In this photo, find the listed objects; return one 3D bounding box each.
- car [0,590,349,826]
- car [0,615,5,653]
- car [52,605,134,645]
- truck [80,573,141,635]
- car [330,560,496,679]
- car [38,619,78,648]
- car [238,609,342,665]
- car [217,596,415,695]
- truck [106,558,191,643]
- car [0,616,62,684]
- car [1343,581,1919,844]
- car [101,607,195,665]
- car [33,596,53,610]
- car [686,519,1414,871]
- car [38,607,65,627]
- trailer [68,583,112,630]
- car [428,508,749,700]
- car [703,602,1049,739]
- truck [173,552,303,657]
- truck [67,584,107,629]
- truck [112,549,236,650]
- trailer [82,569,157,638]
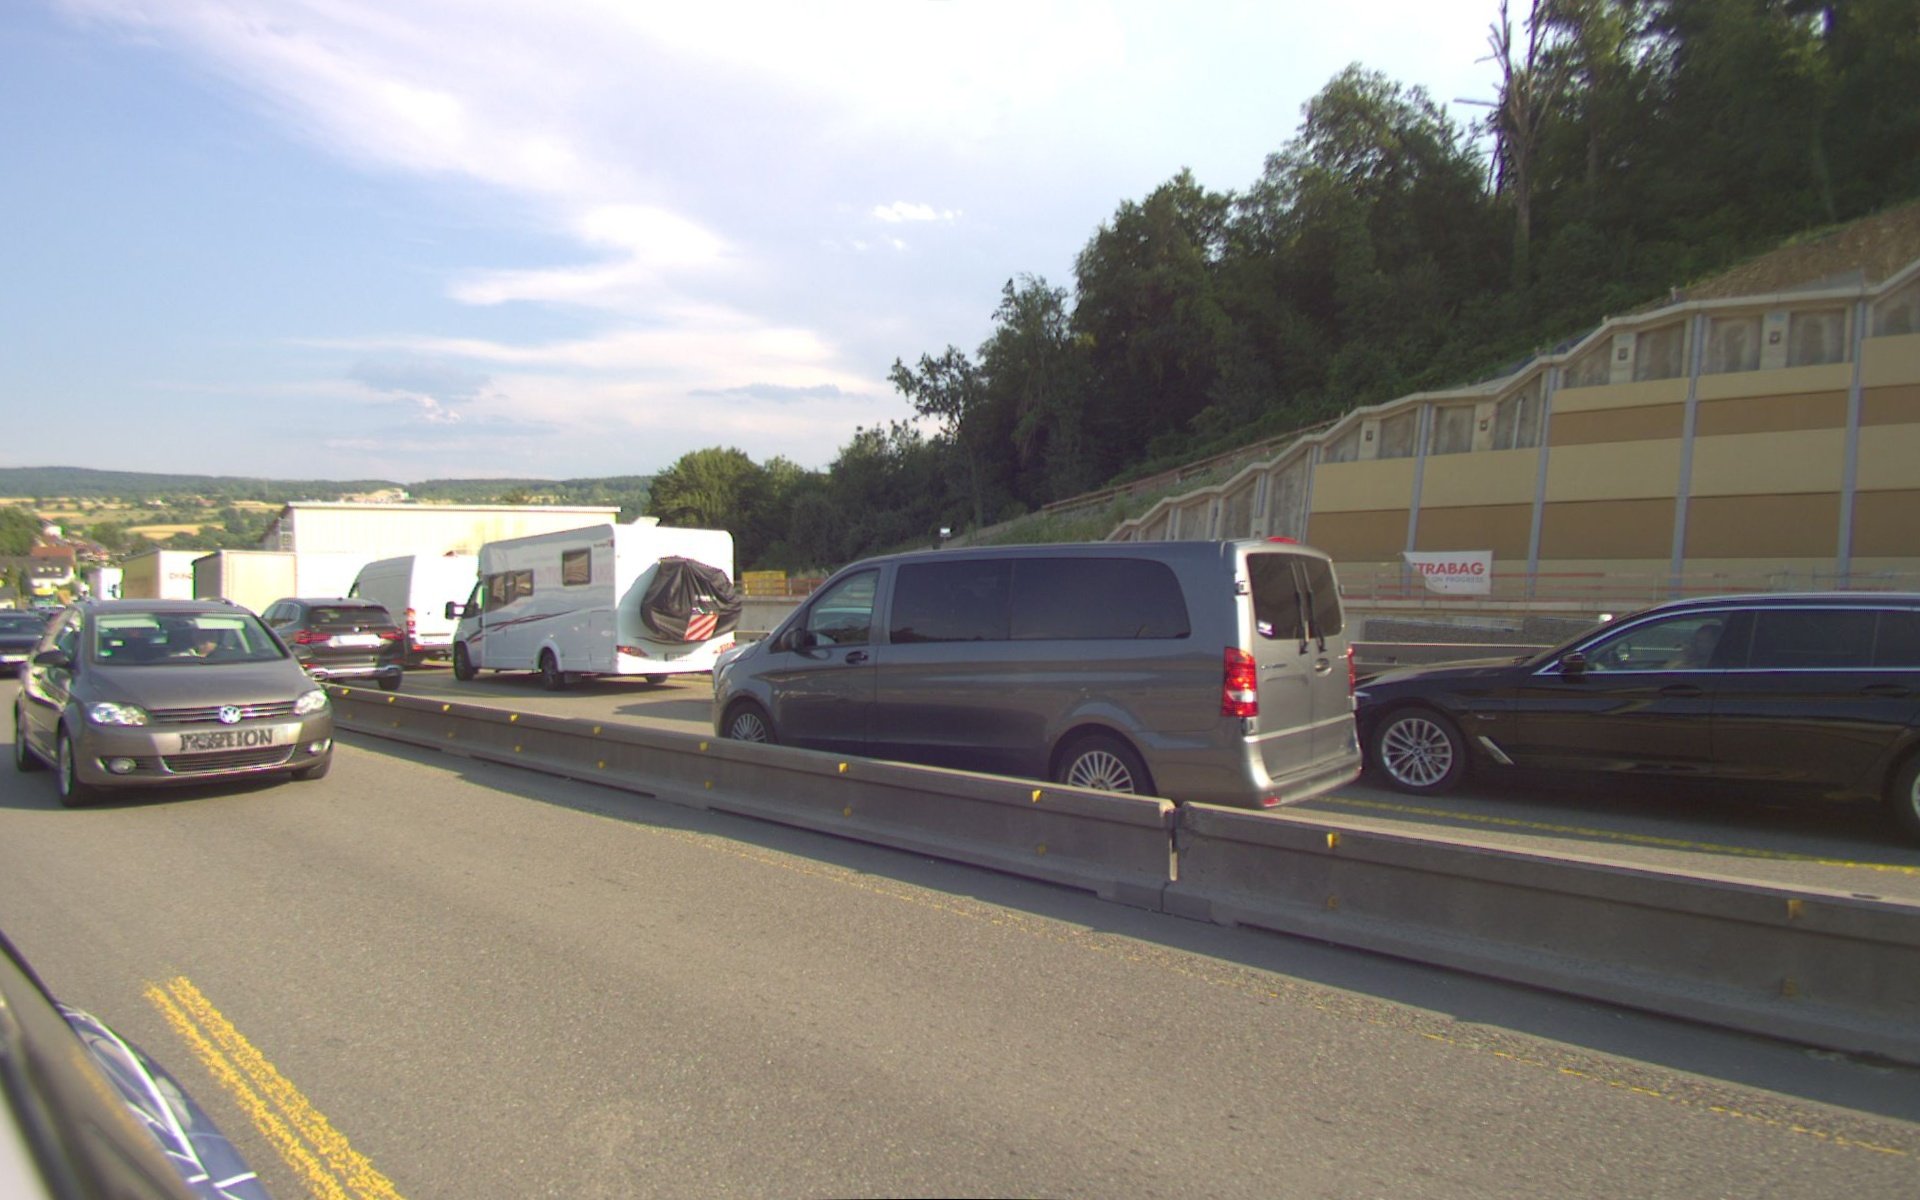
[{"bbox_3d":[-6.999,0.739,8.808,4.096,1.585,1.667,-1,0,40],"label":"car"},{"bbox_3d":[-36.946,1.302,37.858,1.674,1.409,4.004,-2,0,-43],"label":"car"},{"bbox_3d":[-35.007,1.053,40.819,4.728,1.498,2.035,-2,-4,44],"label":"car"},{"bbox_3d":[-58.748,0.285,69.946,2.810,4.066,6.106,0,-1,-44],"label":"truck"},{"bbox_3d":[-13.674,0.453,25.092,5.749,2.640,1.935,0,-1,44],"label":"car"},{"bbox_3d":[-51.345,1.886,57.615,1.634,1.535,4.292,-1,0,-42],"label":"car"},{"bbox_3d":[-20.095,1.056,30.299,4.003,1.535,1.744,-1,0,44],"label":"car"},{"bbox_3d":[-11.797,0.822,18.395,4.753,1.591,1.798,-2,-3,42],"label":"car"},{"bbox_3d":[-41.819,0.064,52.077,6.103,4.119,2.682,-1,-1,44],"label":"truck"},{"bbox_3d":[-21.857,1.086,23.087,1.841,1.409,4.003,1,-1,-44],"label":"car"},{"bbox_3d":[5.273,0.635,6.868,4.710,1.471,1.725,-1,0,41],"label":"car"},{"bbox_3d":[-24.255,1.059,30.183,1.762,1.533,4.002,-2,0,-45],"label":"car"},{"bbox_3d":[-142.647,0.531,157.463,4.753,2.015,1.798,-2,-3,42],"label":"car"},{"bbox_3d":[0.265,0.563,7.629,5.450,1.785,1.786,-3,-1,42],"label":"car"},{"bbox_3d":[-88.444,1.630,98.473,1.840,1.925,4.004,1,-1,-43],"label":"car"},{"bbox_3d":[-75.918,0.567,88.205,2.566,3.910,10.589,0,-1,-43],"label":"trailer"},{"bbox_3d":[-7.211,0.086,18.926,7.630,2.940,2.310,0,-1,42],"label":"car"},{"bbox_3d":[-1.225,0.768,13.007,4.608,1.433,1.730,0,1,42],"label":"car"},{"bbox_3d":[-26.574,0.172,37.101,7.617,3.489,2.421,-1,0,43],"label":"truck"},{"bbox_3d":[-79.300,0.604,91.906,2.568,3.917,6.210,0,-1,-43],"label":"truck"},{"bbox_3d":[-36.961,0.023,47.286,14.159,4.119,2.677,0,-1,45],"label":"truck"},{"bbox_3d":[-54.473,0.242,65.432,2.824,4.066,13.983,0,-1,-43],"label":"trailer"}]
